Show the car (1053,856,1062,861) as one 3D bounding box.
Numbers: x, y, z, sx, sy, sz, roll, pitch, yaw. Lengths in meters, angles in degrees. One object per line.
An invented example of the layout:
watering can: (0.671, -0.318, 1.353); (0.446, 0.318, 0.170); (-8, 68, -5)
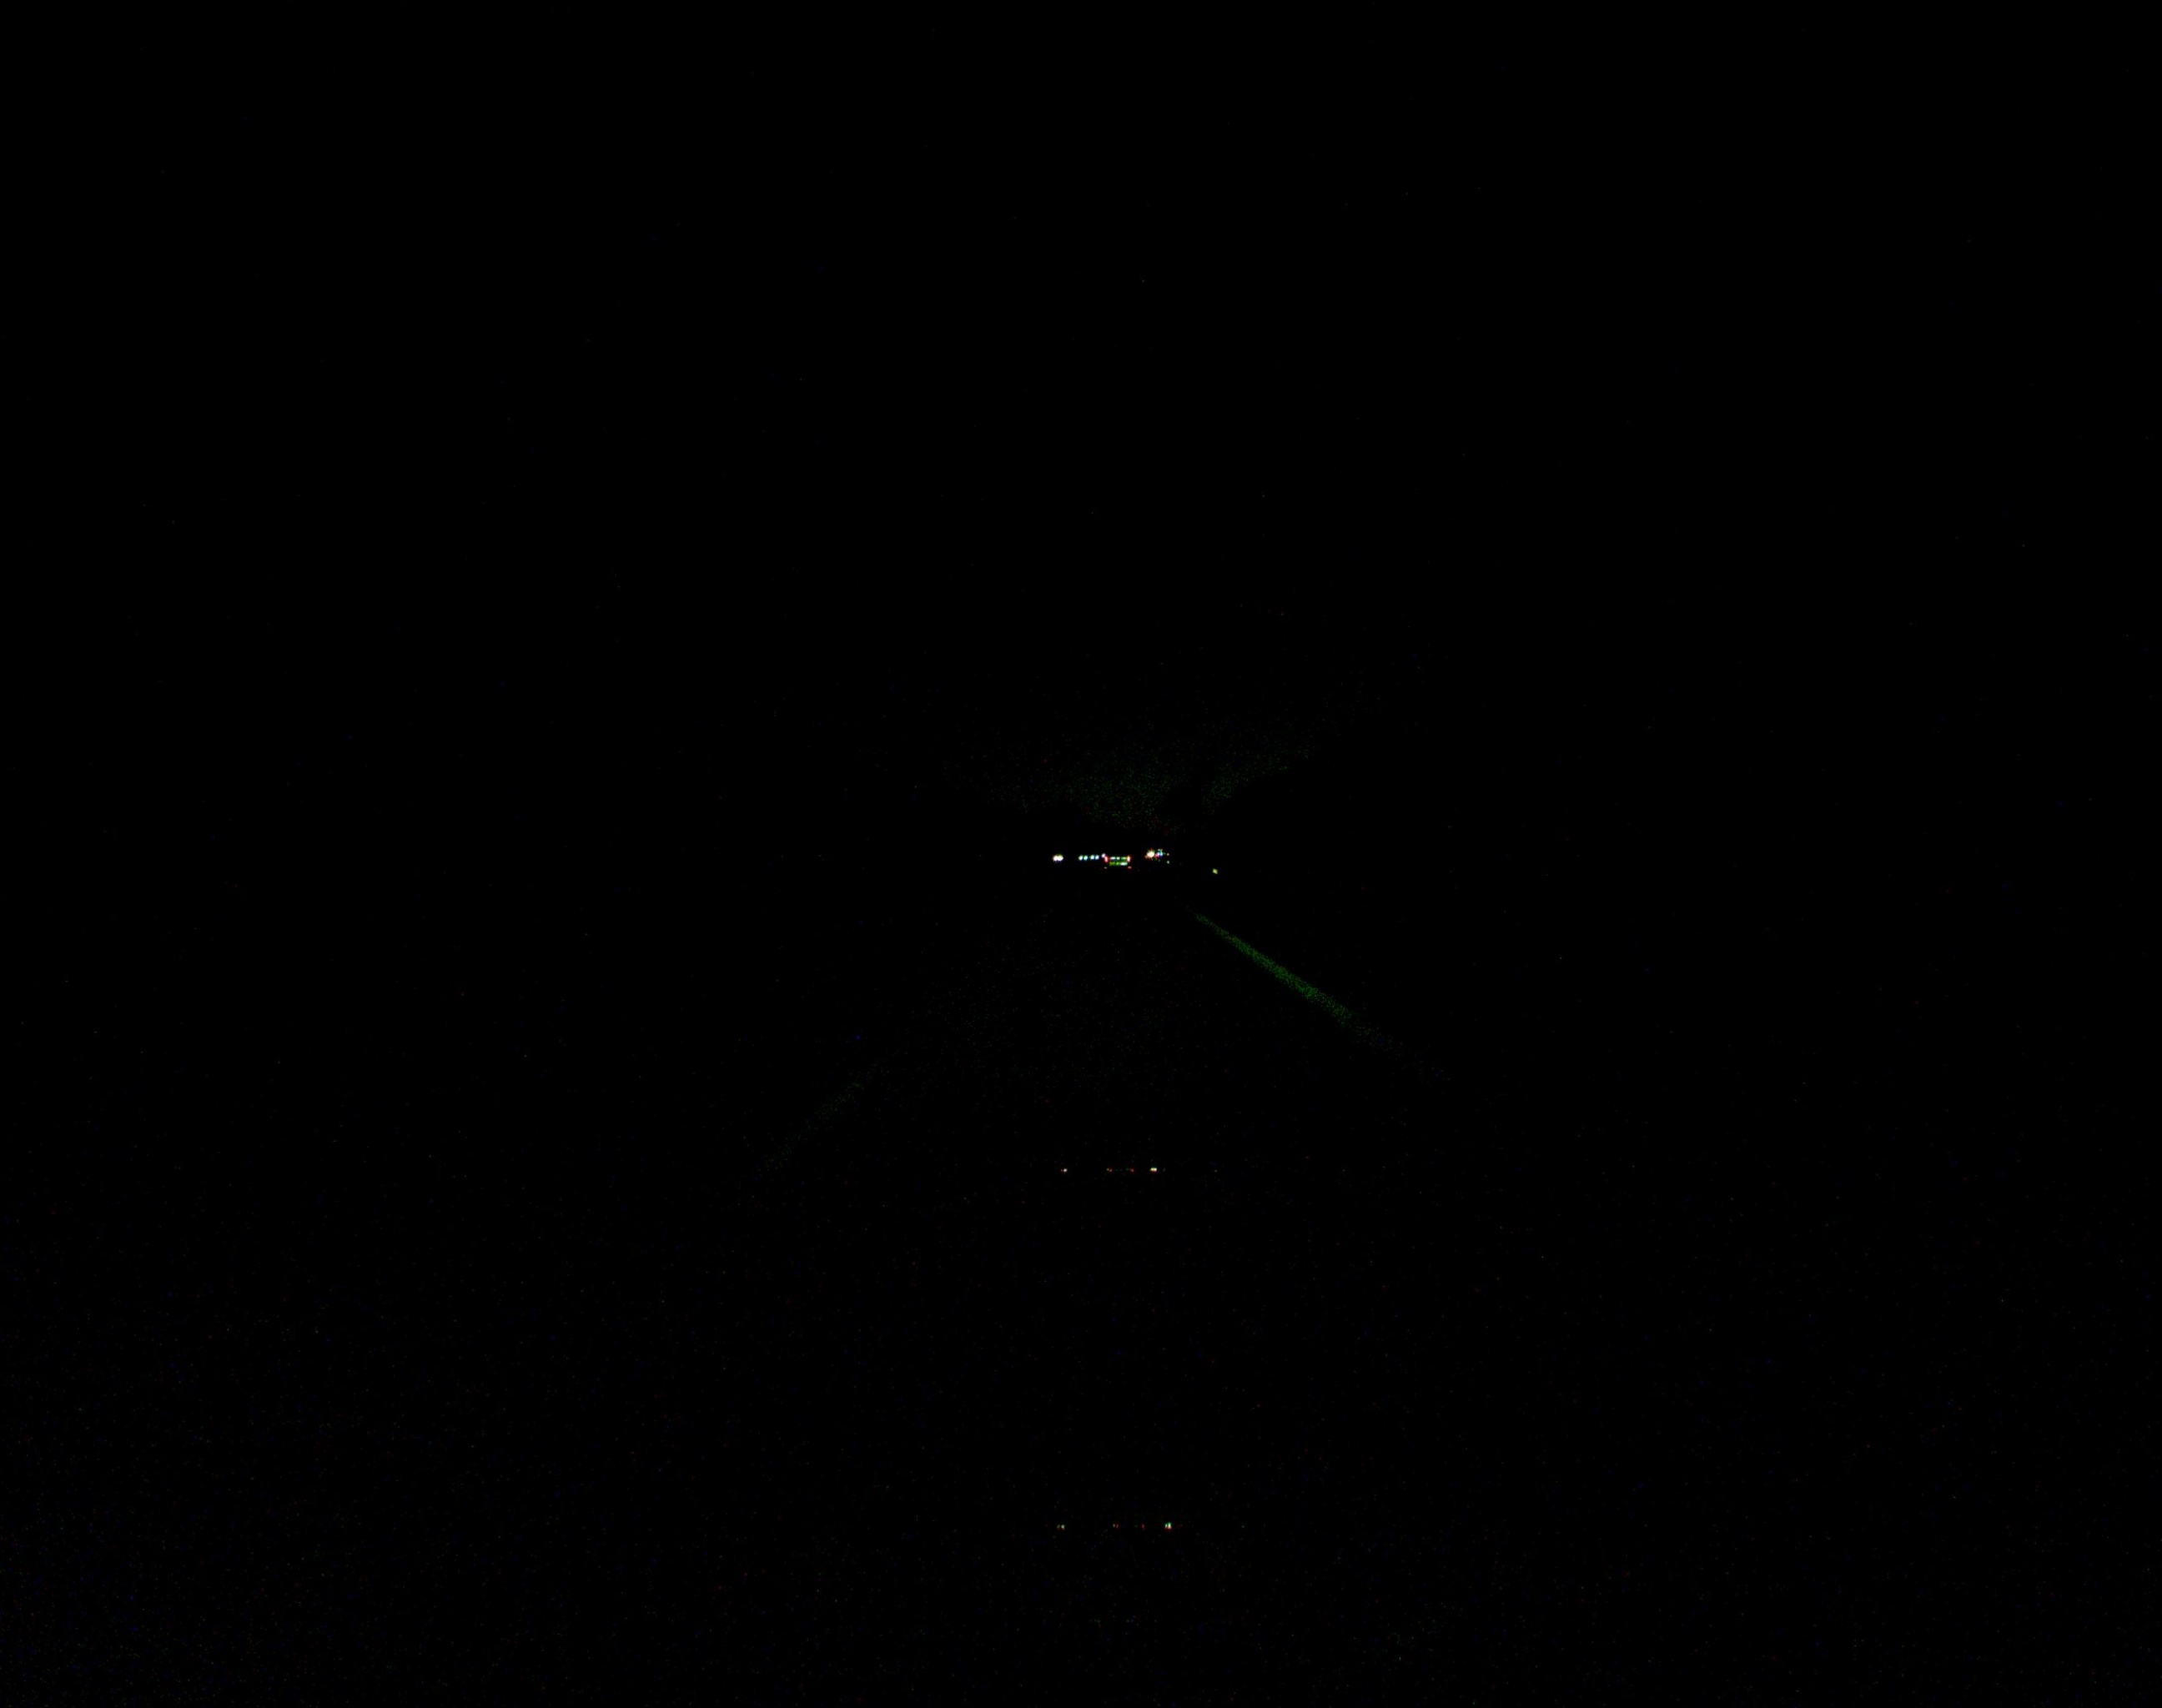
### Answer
car: (-6.755, 1.325, 231.996); (1.984, 1.508, 4.407); (-1, -1, 5)

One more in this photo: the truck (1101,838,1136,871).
truck: (3.116, 0.074, 69.543); (2.621, 2.624, 8.684); (0, -1, 1)

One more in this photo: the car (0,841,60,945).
car: (-22.032, 0.742, 14.107); (2.018, 2.014, 5.190); (-1, -1, 2)
